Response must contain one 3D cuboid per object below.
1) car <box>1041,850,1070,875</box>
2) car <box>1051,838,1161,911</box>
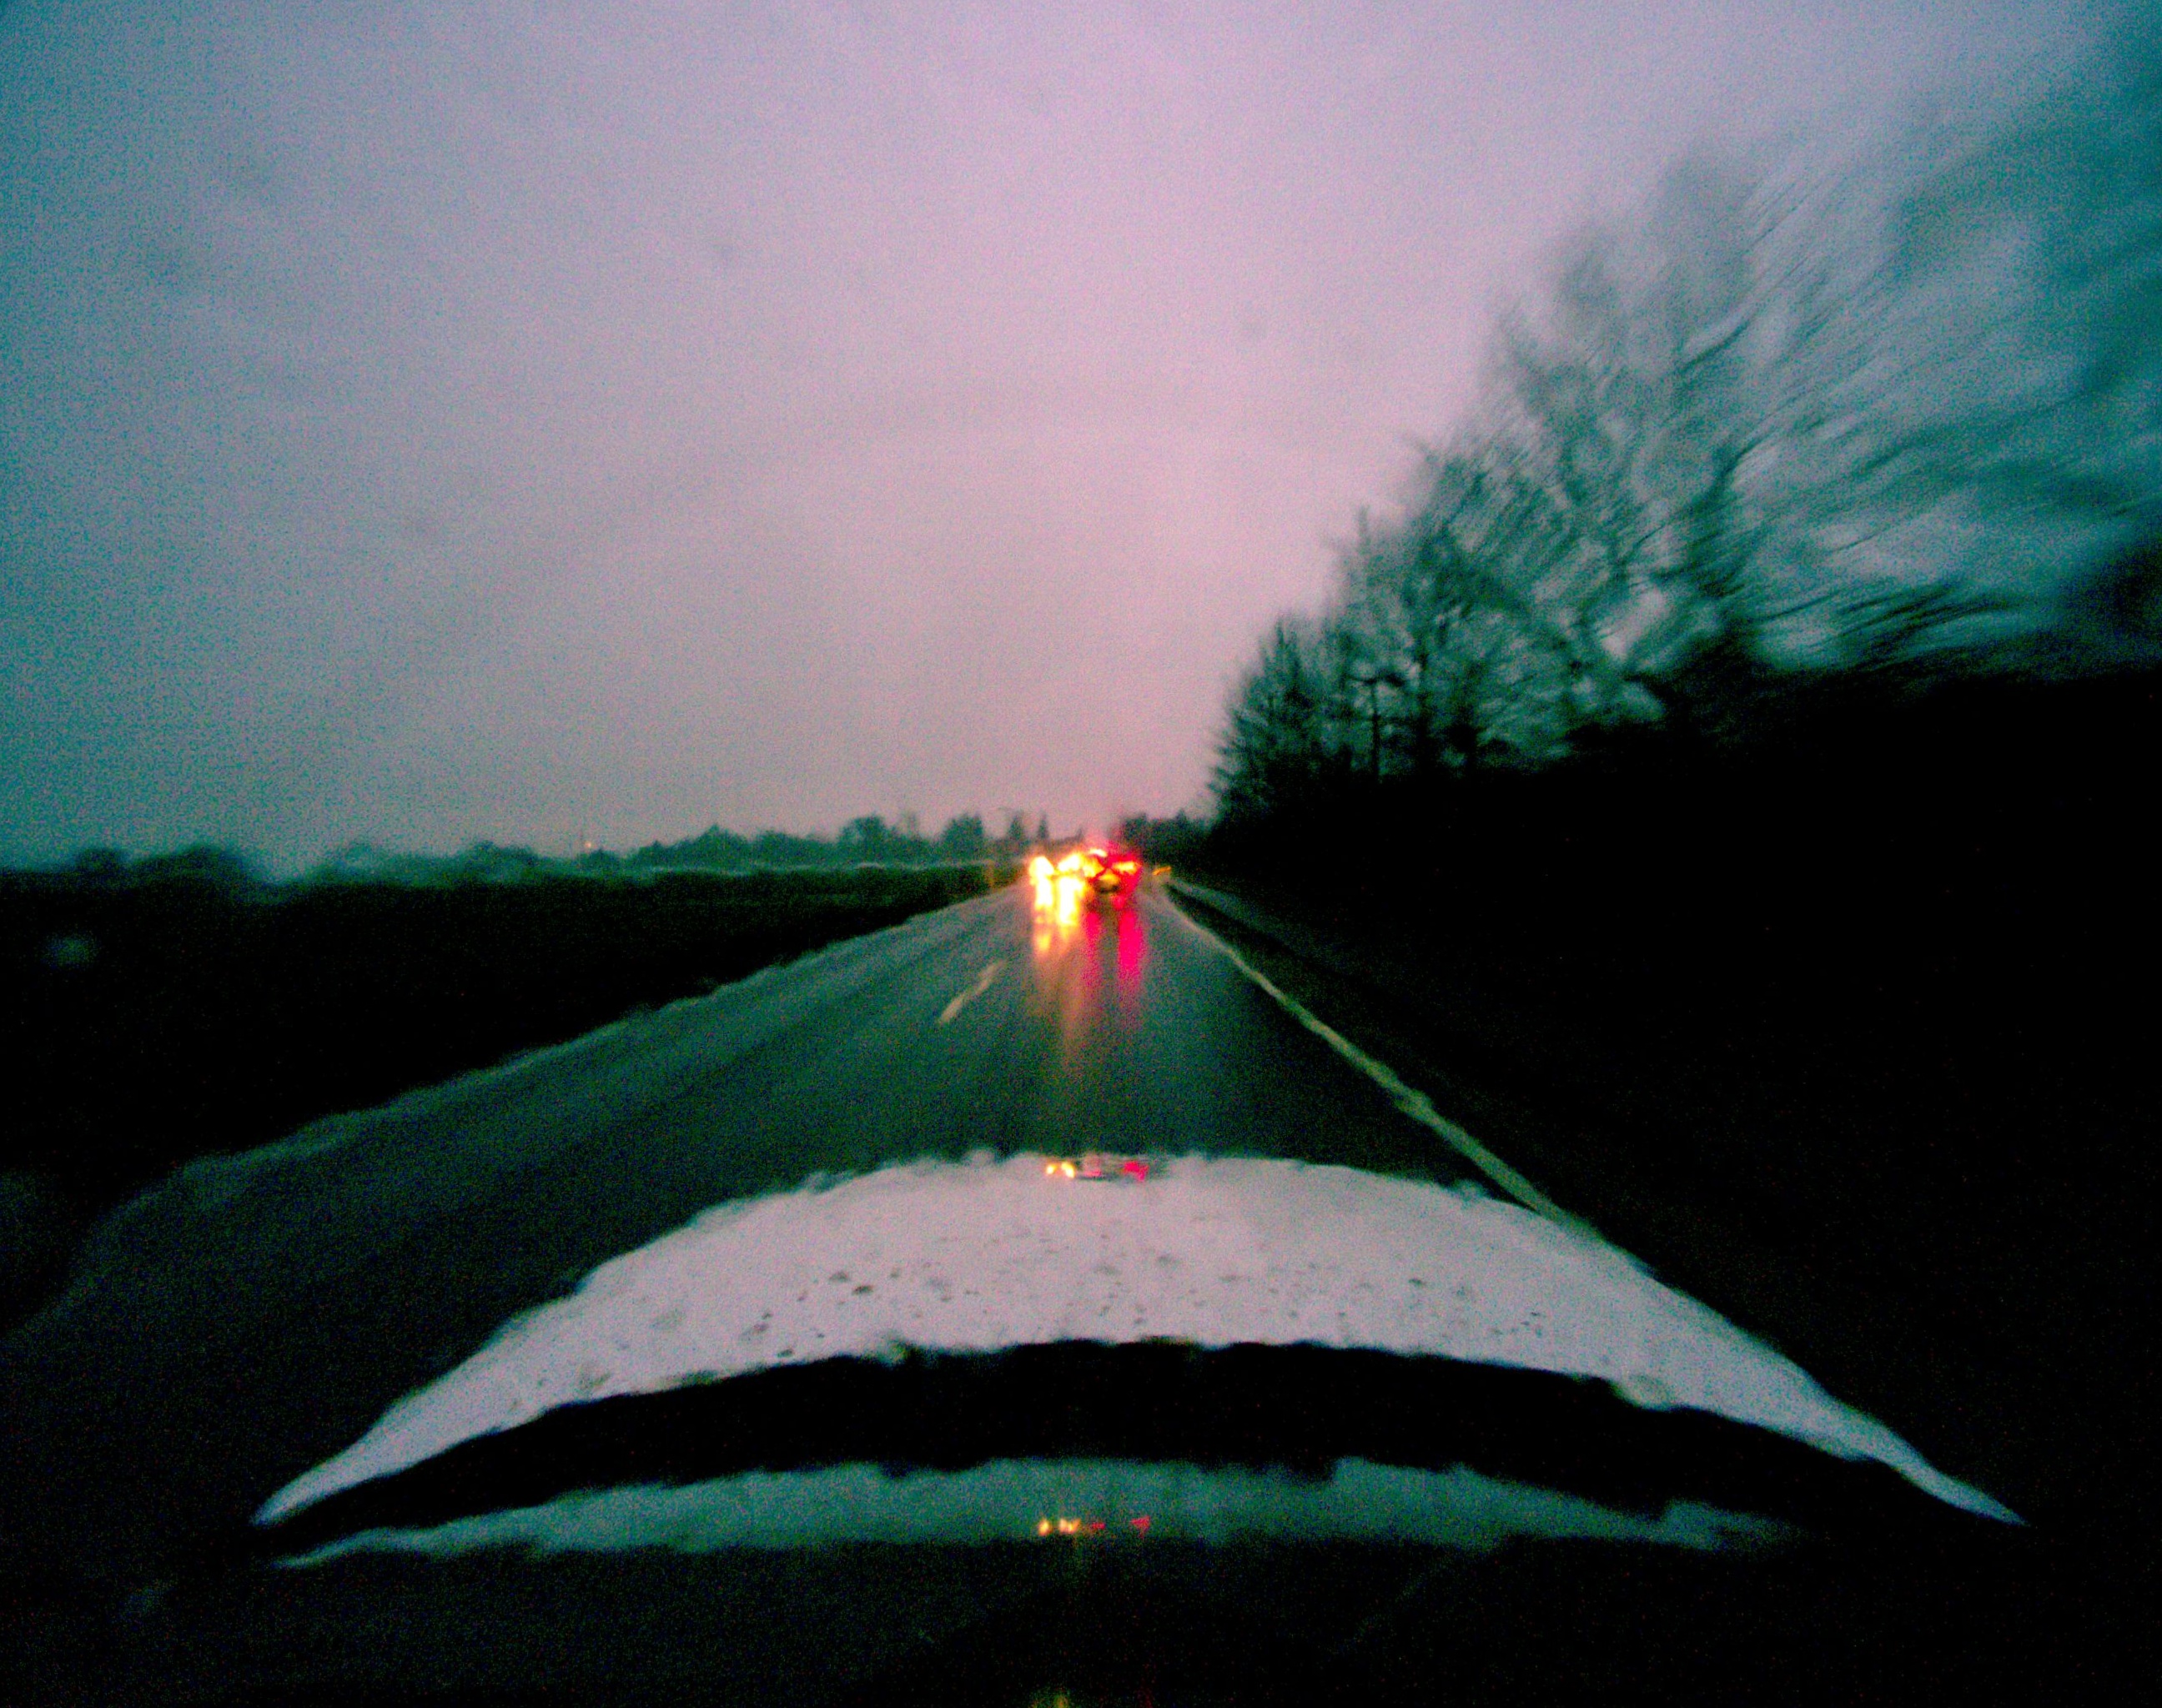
[{"bbox_3d":[-1.753,0.572,57.850,1.833,1.721,3.957,0,0,1],"label":"car"},{"bbox_3d":[0.864,0.576,27.196,3.152,2.035,6.855,-2,0,2],"label":"car"}]
